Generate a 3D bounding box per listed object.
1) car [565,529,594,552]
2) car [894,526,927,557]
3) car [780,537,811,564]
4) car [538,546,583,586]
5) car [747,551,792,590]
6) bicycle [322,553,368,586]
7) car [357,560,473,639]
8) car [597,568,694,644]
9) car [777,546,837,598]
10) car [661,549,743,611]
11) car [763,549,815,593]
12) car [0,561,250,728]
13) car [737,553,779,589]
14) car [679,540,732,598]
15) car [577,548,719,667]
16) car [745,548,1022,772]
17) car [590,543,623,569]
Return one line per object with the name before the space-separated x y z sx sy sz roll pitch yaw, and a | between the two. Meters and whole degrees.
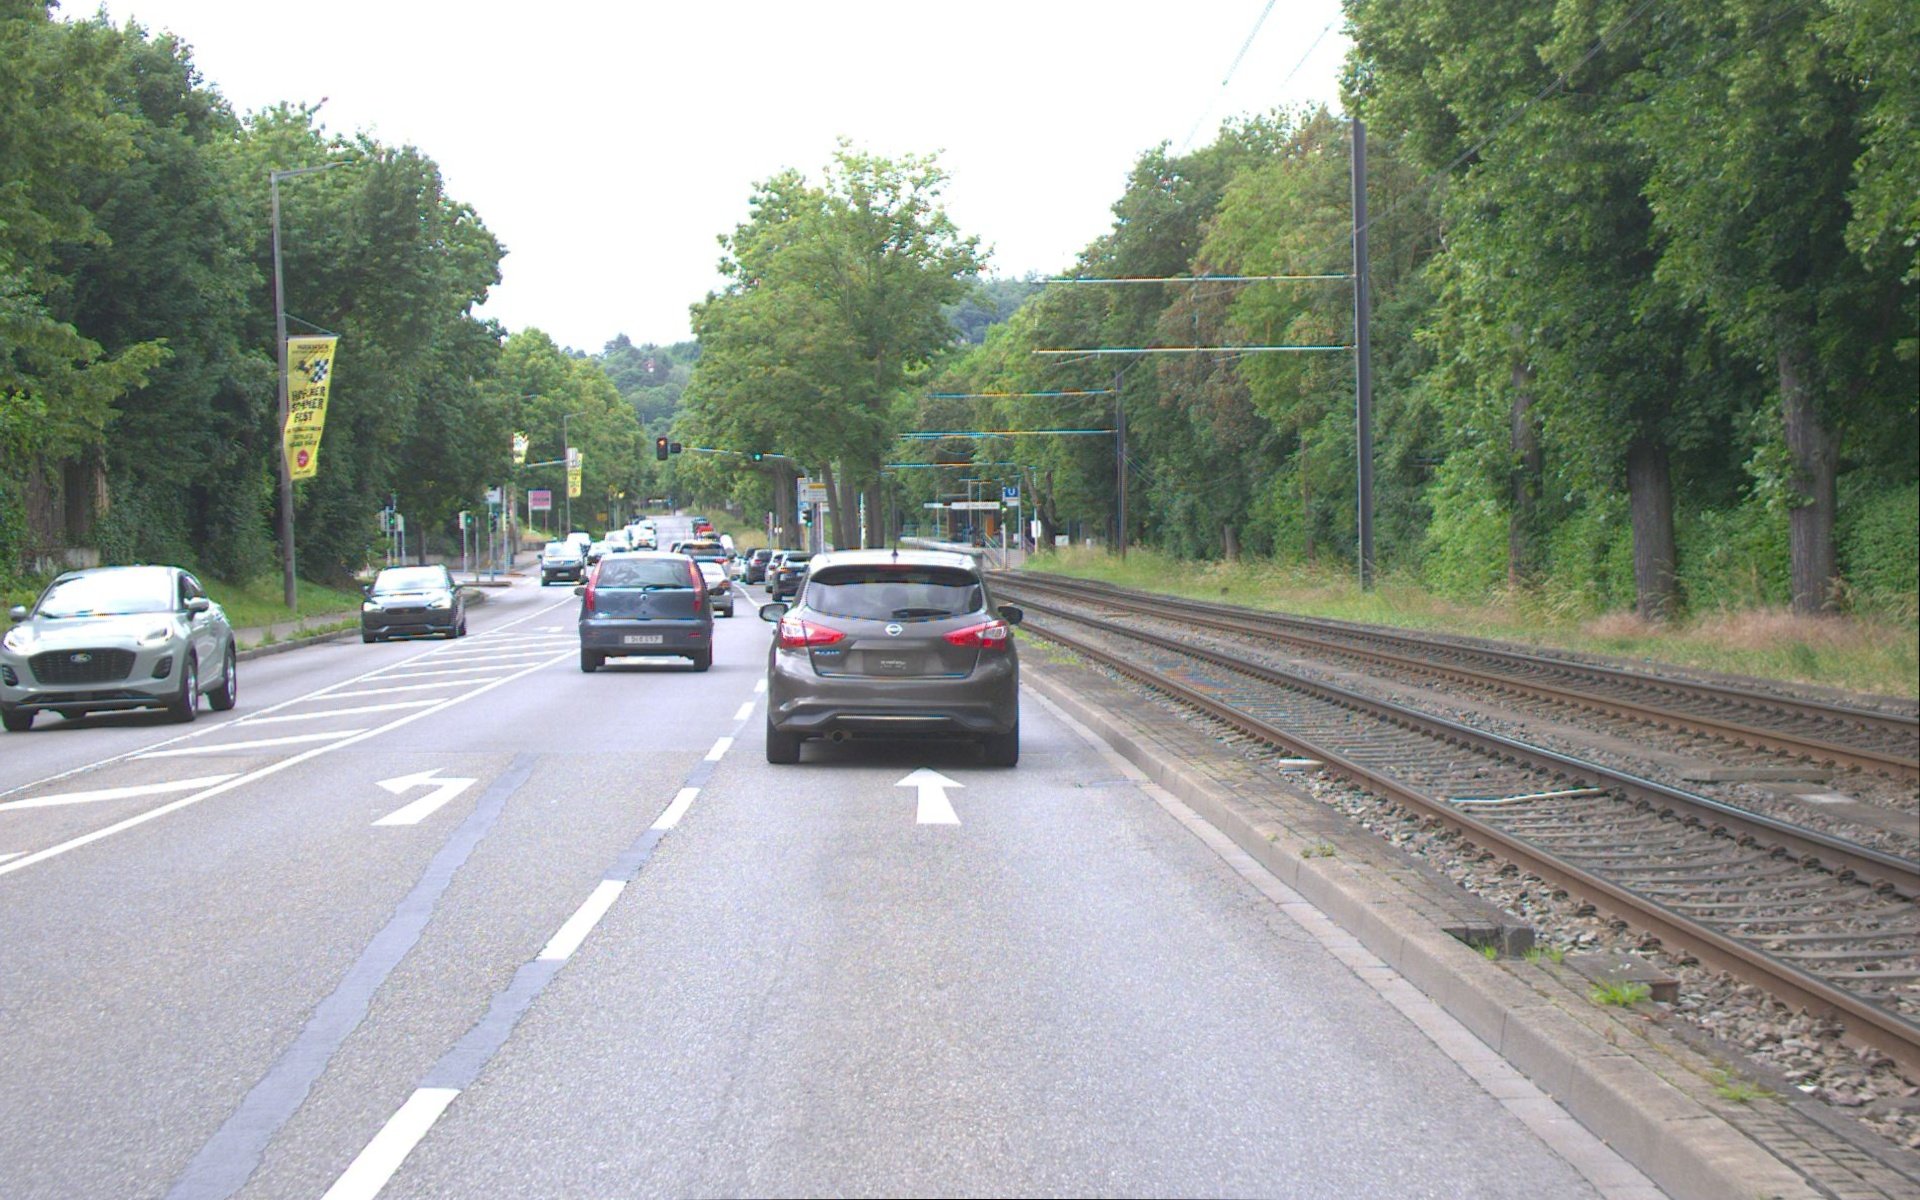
car | -27.223 -4.236 245.808 1.715 1.545 4.000 0 0 -1
car | -2.755 -3.256 190.744 1.715 1.657 3.708 0 0 -3
car | -9.653 -2.881 202.197 1.715 1.545 4.000 0 0 -1
car | -17.473 -1.477 150.369 1.715 1.754 4.000 0 0 -3
car | -7.837 -1.207 141.407 1.715 1.545 4.000 0 0 -1
bicycle | -20.725 -1.045 115.932 0.499 1.104 1.797 0 1 29
car | -10.466 -0.041 66.234 1.841 1.371 4.448 -3 1 -5
car | -6.065 0.112 66.625 1.715 1.430 4.000 0 0 -3
car | -4.585 -0.830 103.348 1.715 1.545 4.000 0 0 -1
car | -6.085 -0.494 81.409 1.715 1.430 4.000 0 1 -1
car | -6.014 -1.012 121.047 1.715 1.545 4.000 0 0 -1
car | -8.291 0.394 33.962 1.826 1.452 4.143 -3 1 -3
car | -8.941 -1.281 152.386 1.715 1.545 4.000 0 0 -1
car | -8.352 -1.016 113.205 1.715 1.857 4.000 0 0 -4
car | -3.921 0.058 43.672 1.699 1.438 4.001 0 1 -4
car | -0.535 0.375 25.235 1.850 1.488 4.000 1 1 -1
car | -21.771 -2.713 211.772 1.715 1.545 4.000 0 0 -1
